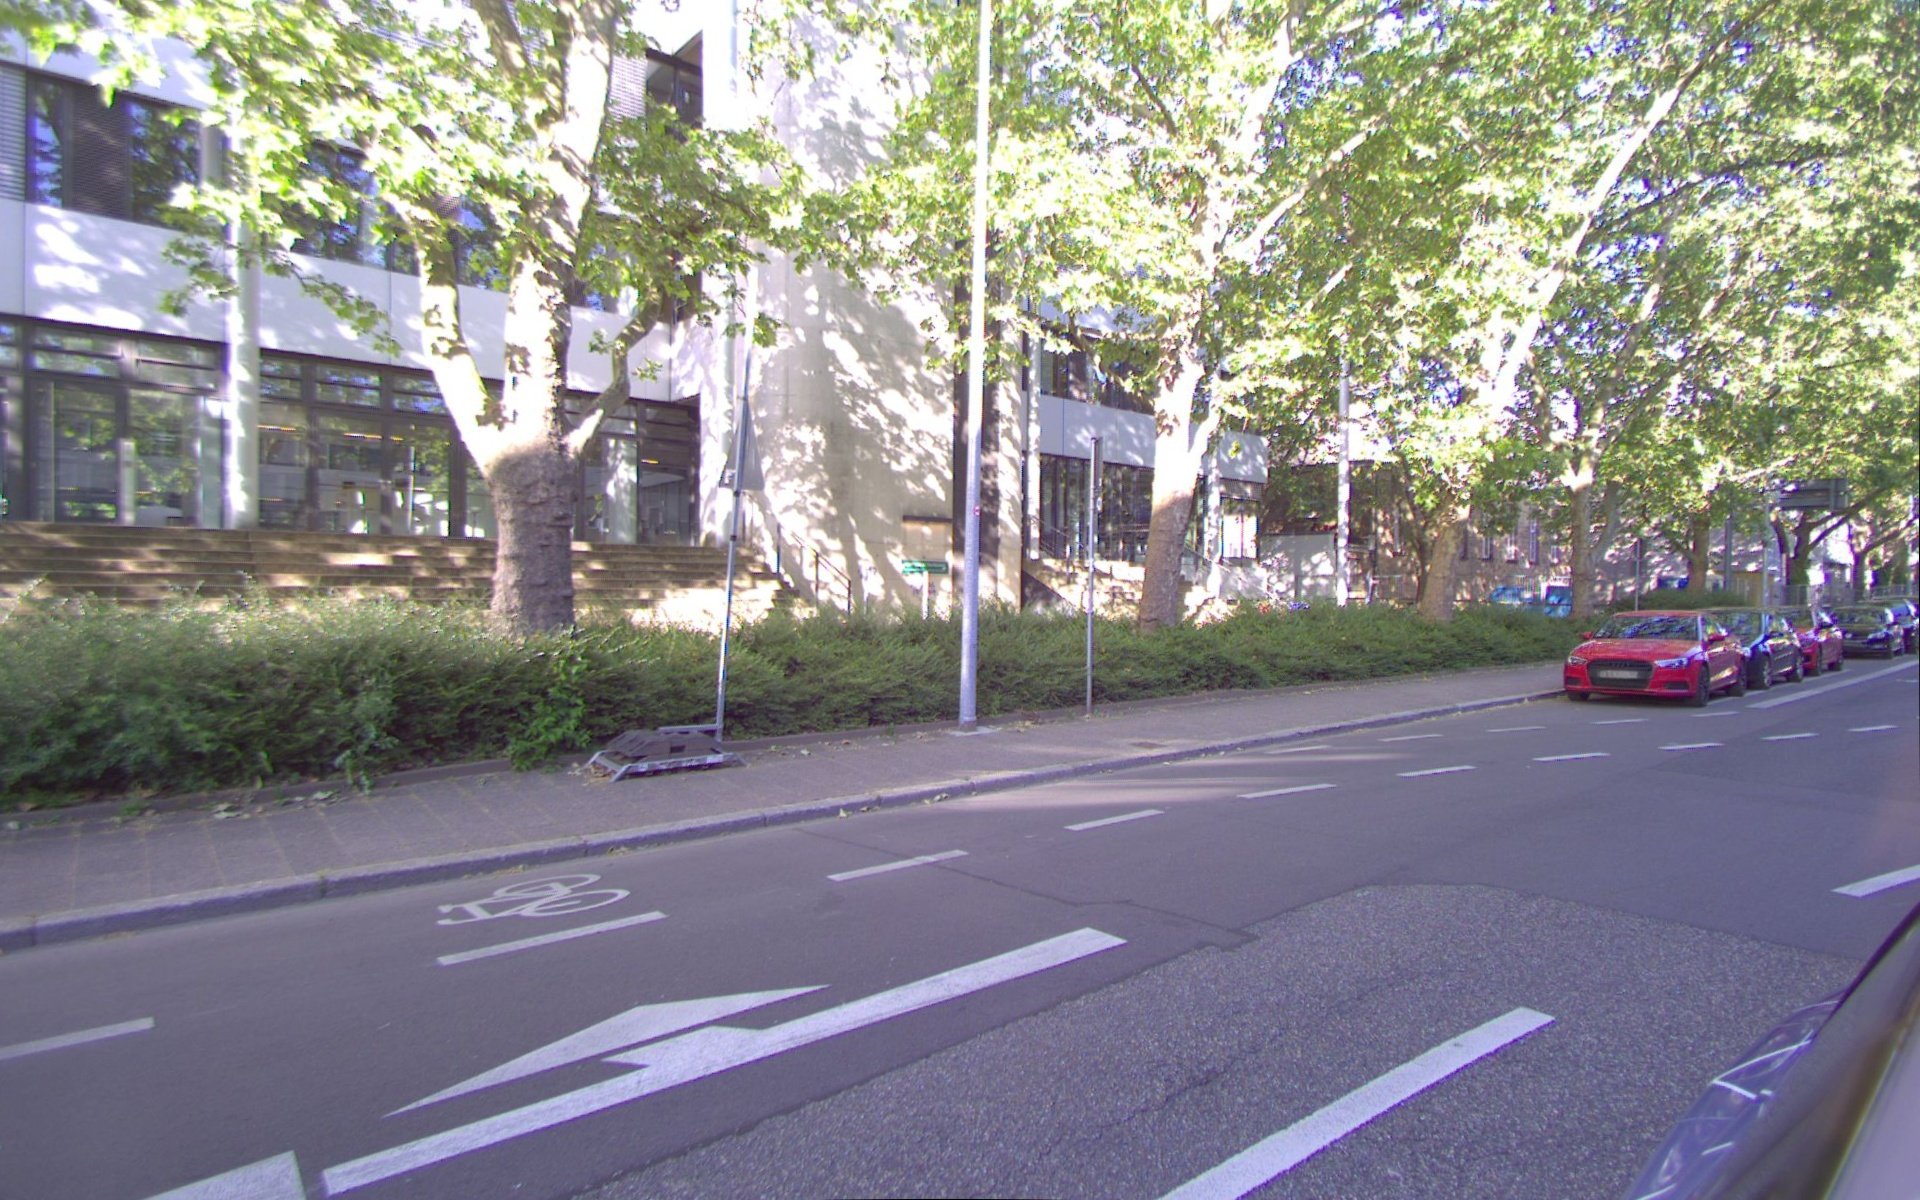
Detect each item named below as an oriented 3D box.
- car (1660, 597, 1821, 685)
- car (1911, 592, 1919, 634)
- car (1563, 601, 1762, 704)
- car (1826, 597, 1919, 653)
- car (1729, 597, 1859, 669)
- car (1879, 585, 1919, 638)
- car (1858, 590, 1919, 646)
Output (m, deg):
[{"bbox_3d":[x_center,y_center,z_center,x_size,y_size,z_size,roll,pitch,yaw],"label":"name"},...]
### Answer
[{"bbox_3d":[14.816,0.699,19.147,3.930,1.485,1.684,0,0,-41],"label":"car"},{"bbox_3d":[38.713,0.504,39.728,3.801,1.581,1.684,0,1,-41],"label":"car"},{"bbox_3d":[11.252,0.750,16.120,3.962,1.439,1.722,0,-2,-42],"label":"car"},{"bbox_3d":[26.020,0.649,28.702,3.930,1.469,1.684,0,1,-41],"label":"car"},{"bbox_3d":[18.617,0.670,22.542,3.715,1.452,1.664,0,1,-41],"label":"car"},{"bbox_3d":[33.976,0.384,35.711,4.354,1.790,1.818,0,1,-41],"label":"car"},{"bbox_3d":[29.521,0.517,31.655,3.770,1.640,1.684,0,1,-41],"label":"car"}]
